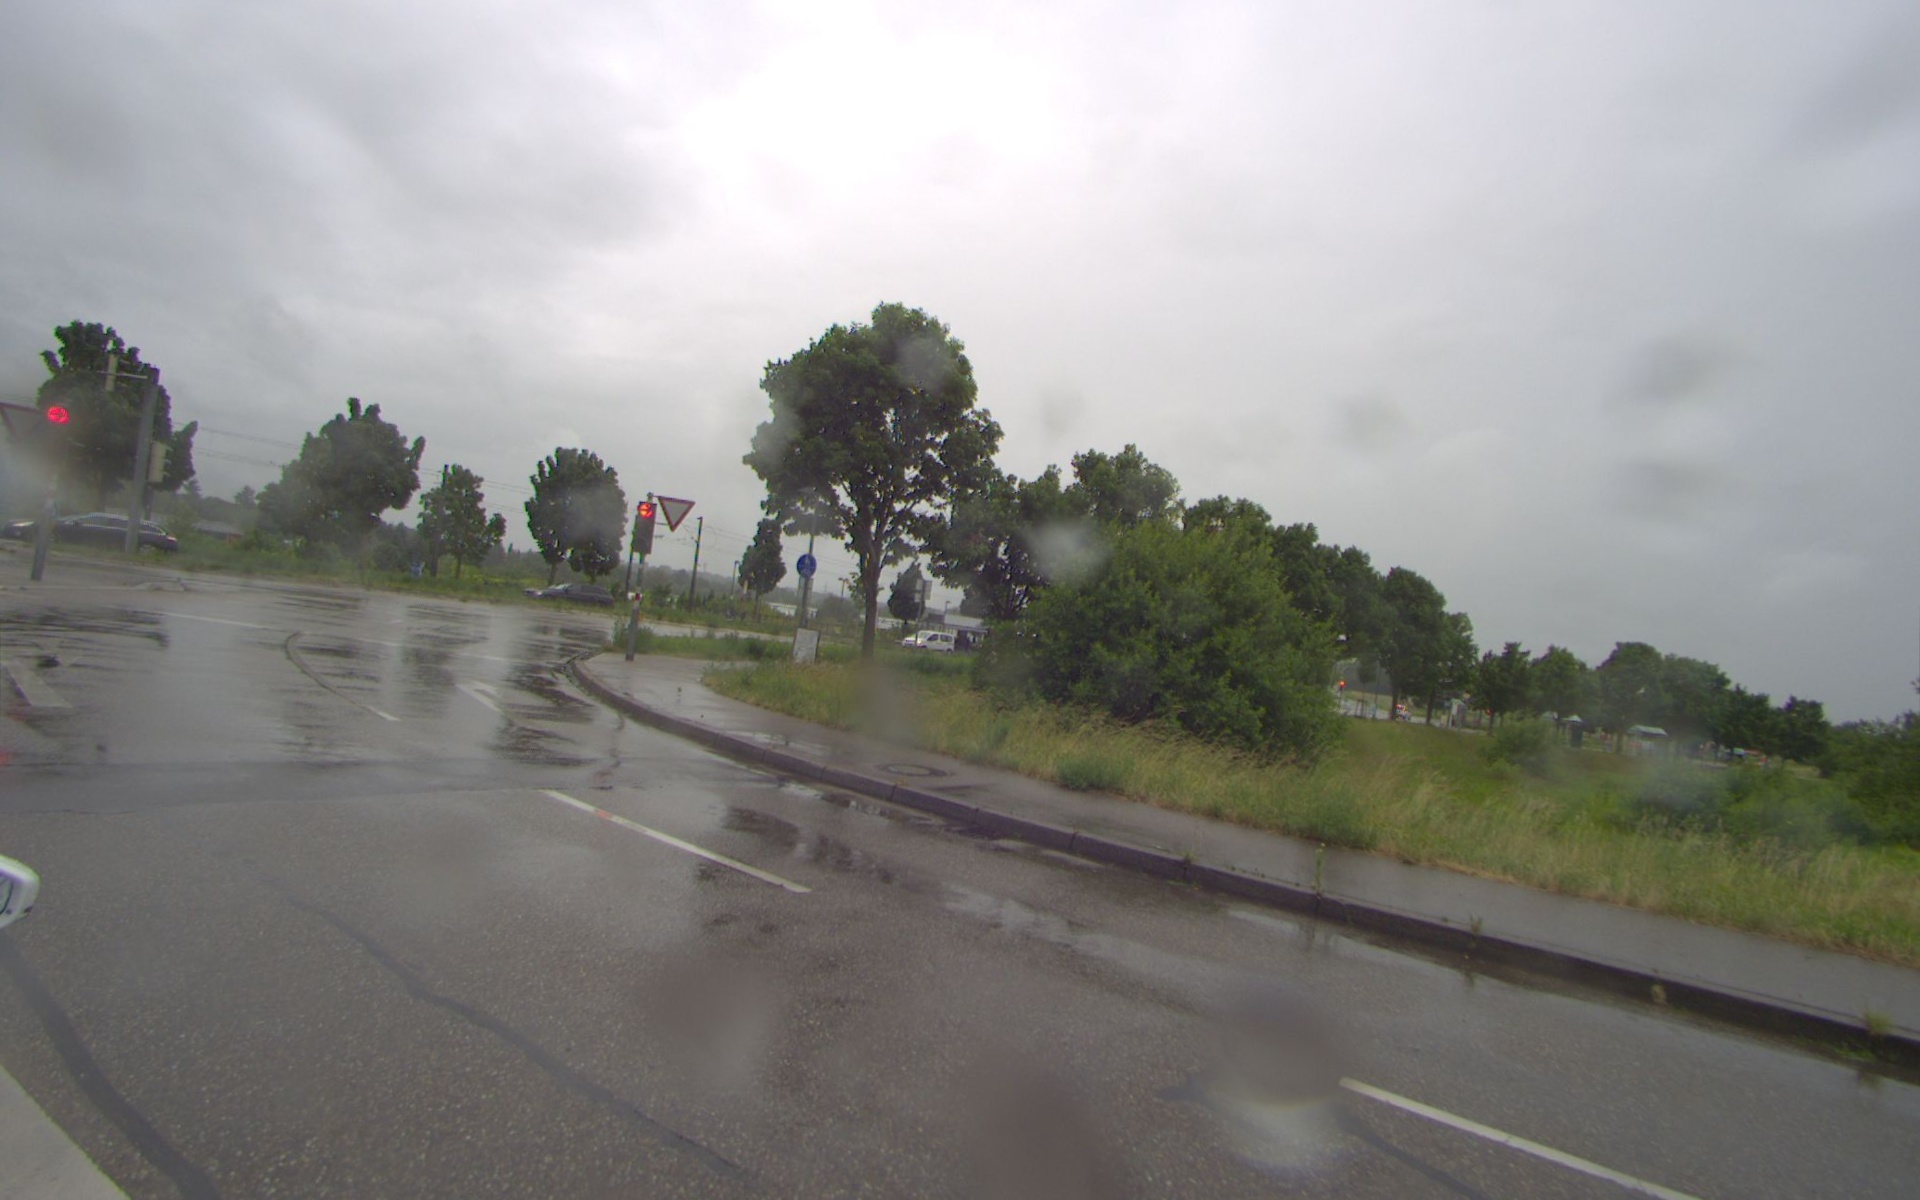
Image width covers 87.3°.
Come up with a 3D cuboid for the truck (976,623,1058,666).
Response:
[{"bbox_3d":[5.207,4.046,89.832,2.615,2.864,8.824,7,-2,37],"label":"truck"}]

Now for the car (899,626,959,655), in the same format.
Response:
[{"bbox_3d":[-2.249,2.975,73.870,1.798,1.572,4.327,7,-1,43],"label":"car"}]

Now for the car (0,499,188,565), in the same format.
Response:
[{"bbox_3d":[-30.744,-2.386,35.874,1.793,1.572,4.674,7,-1,34],"label":"car"}]

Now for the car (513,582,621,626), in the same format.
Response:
[{"bbox_3d":[-19.632,0.217,50.456,1.796,1.572,4.668,7,-1,39],"label":"car"}]
